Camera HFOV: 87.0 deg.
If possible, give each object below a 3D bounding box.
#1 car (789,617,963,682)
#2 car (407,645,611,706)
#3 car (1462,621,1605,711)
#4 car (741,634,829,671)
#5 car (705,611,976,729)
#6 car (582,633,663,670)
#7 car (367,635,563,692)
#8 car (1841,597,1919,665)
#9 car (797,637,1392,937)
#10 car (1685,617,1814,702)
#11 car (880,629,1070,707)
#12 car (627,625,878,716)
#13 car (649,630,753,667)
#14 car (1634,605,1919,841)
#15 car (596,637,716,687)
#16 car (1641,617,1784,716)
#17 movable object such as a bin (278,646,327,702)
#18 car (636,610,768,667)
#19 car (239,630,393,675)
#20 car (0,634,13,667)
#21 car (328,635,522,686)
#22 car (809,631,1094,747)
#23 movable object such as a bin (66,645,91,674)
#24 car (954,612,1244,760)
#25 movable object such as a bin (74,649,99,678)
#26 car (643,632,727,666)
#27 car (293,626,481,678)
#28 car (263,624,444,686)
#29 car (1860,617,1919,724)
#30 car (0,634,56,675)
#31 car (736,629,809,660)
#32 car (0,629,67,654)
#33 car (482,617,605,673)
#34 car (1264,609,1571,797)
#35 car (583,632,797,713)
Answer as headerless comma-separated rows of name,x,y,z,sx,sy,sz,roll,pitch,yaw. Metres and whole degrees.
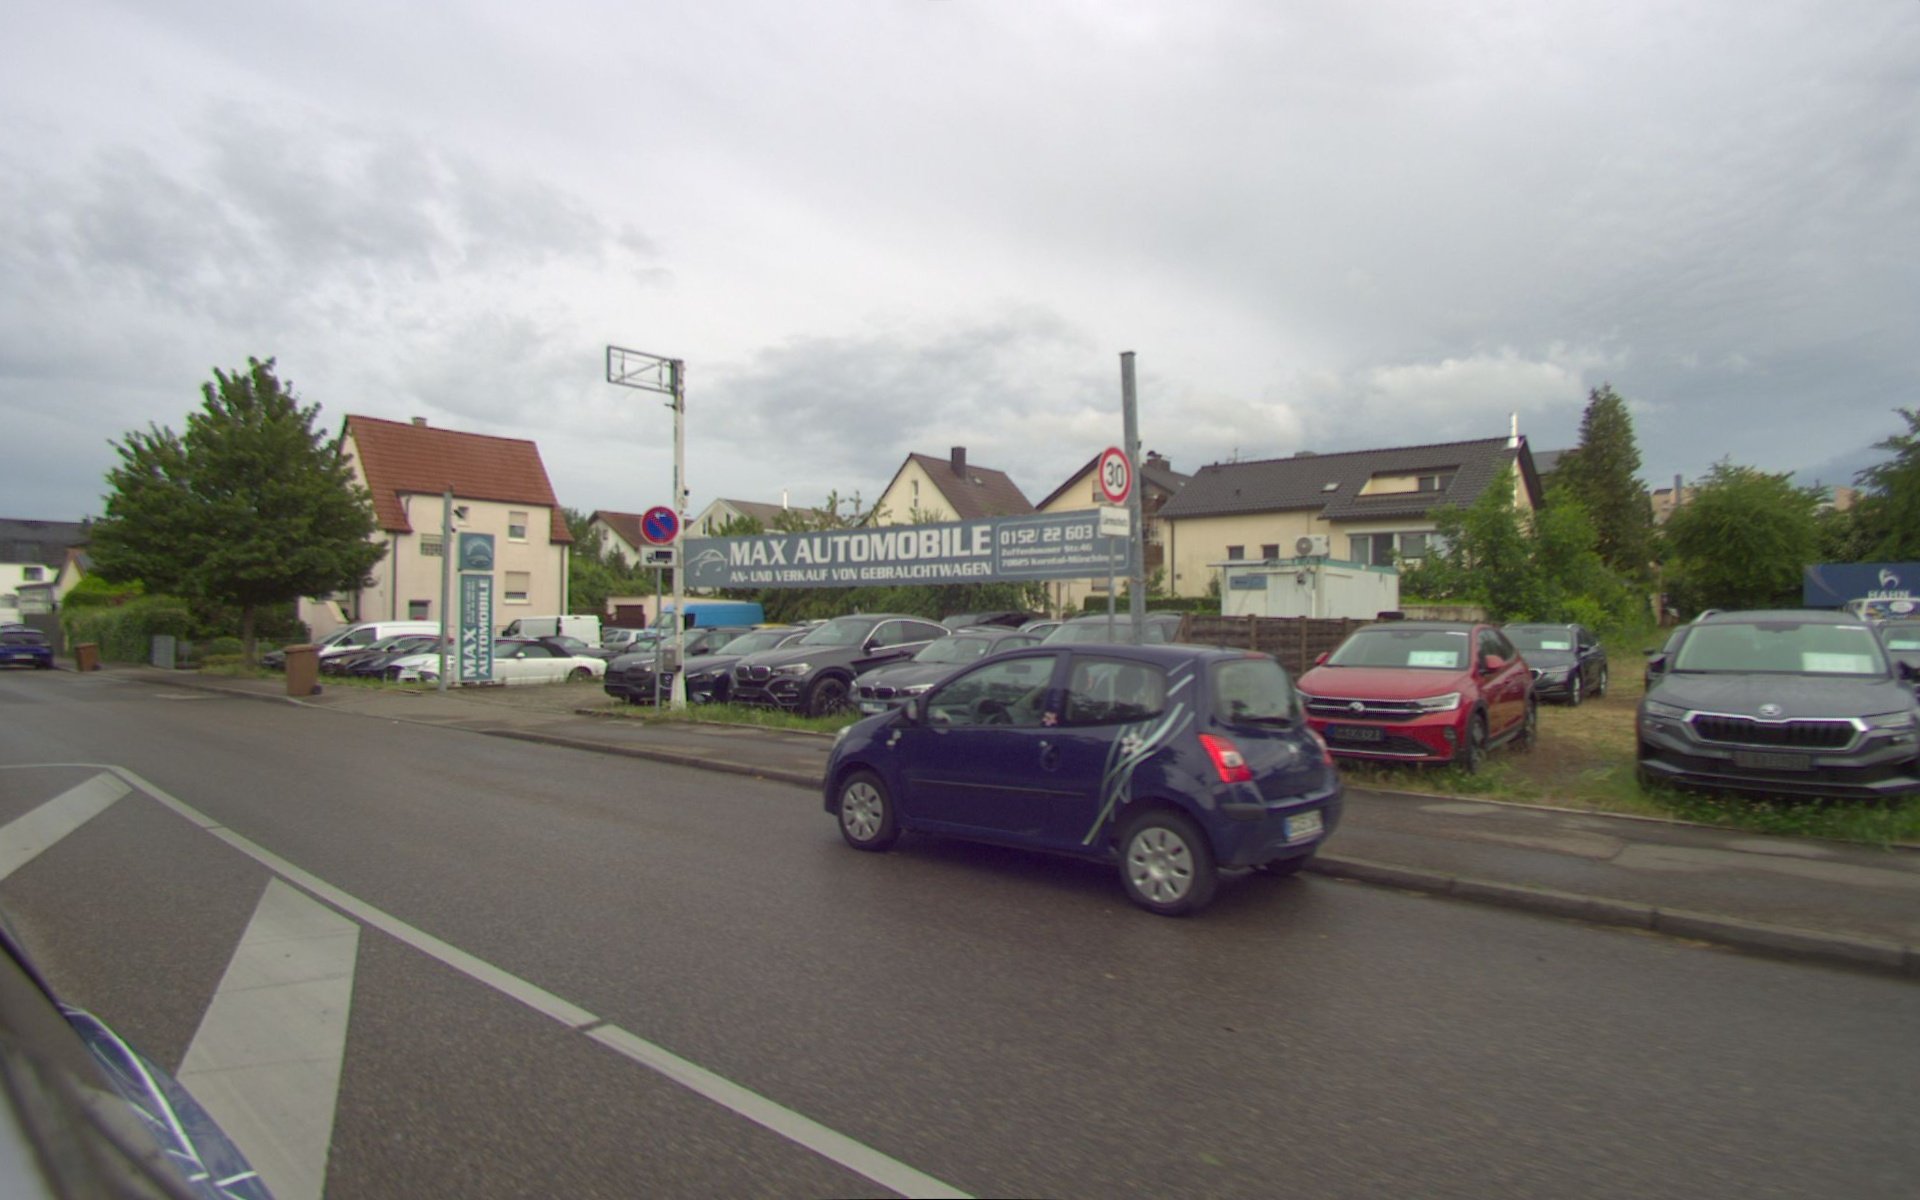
car,-2.098,1.206,25.587,3.932,1.511,1.943,1,-2,-32
car,-11.268,1.831,25.552,1.769,1.342,4.407,-1,-2,39
car,10.726,1.162,18.825,1.591,1.439,3.594,-3,-2,41
car,-6.464,1.924,37.688,1.336,1.343,3.193,-1,-2,37
car,-1.875,1.072,16.974,2.057,1.704,4.303,-2,-2,40
car,-12.713,1.910,38.065,3.111,1.343,1.372,-1,-2,38
car,-13.193,1.646,27.192,1.887,1.384,4.333,-1,-2,39
car,29.240,0.944,31.837,1.719,1.989,4.145,-3,-2,34
car,0.718,0.975,6.773,3.682,1.444,1.609,-2,-3,41
car,16.723,1.194,21.376,1.753,1.564,3.943,-3,-2,43
car,0.267,1.412,21.979,3.997,1.542,1.674,-2,-3,40
car,-3.725,1.203,18.767,1.940,1.475,4.303,-2,-2,40
car,-9.115,1.680,35.594,3.523,1.245,1.645,-1,-2,34
car,7.179,0.844,8.642,1.803,1.555,3.944,-2,-2,42
car,-8.954,1.800,29.883,3.205,1.426,1.331,-1,-2,17
car,12.798,1.050,17.129,1.591,1.439,3.594,-3,-2,42
movable object such as a bin,-14.118,1.574,21.719,0.734,1.138,0.701,-2,-2,40
car,-11.463,1.669,45.343,2.045,2.392,5.614,-2,-2,39
car,-21.099,1.687,33.285,1.757,1.383,3.877,-1,-2,35
car,-42.277,2.164,43.707,3.594,1.414,1.530,-2,-4,40
car,-15.062,1.644,28.704,1.887,1.319,4.512,-1,-2,39
car,0.017,1.206,15.159,1.958,1.443,4.303,-2,-2,40
movable object such as a bin,-29.976,2.020,34.421,0.505,0.917,0.535,-2,0,38
car,2.053,1.047,13.918,1.958,1.703,4.303,-2,-2,40
movable object such as a bin,-29.536,2.139,34.221,0.424,0.917,0.535,-2,0,38
car,-11.280,1.983,41.706,1.336,1.343,3.193,-1,-2,37
car,-17.024,1.514,30.279,1.893,1.429,4.517,-1,-2,35
car,-19.039,1.692,31.962,1.893,1.804,4.517,-1,-2,35
car,14.976,0.995,15.231,1.588,1.439,3.602,-3,-2,34
car,-34.315,1.938,36.624,3.941,1.414,1.788,-2,-4,40
car,-8.466,2.000,45.767,1.336,1.343,3.193,-1,-2,37
car,-58.738,2.603,63.283,1.879,1.525,4.048,-2,-2,35
car,-15.566,1.663,37.700,5.046,1.945,1.975,-2,-3,37
car,4.905,0.899,10.563,1.803,1.555,3.944,-2,-2,42
car,-5.447,1.401,20.790,1.838,1.475,3.946,-2,-2,40
